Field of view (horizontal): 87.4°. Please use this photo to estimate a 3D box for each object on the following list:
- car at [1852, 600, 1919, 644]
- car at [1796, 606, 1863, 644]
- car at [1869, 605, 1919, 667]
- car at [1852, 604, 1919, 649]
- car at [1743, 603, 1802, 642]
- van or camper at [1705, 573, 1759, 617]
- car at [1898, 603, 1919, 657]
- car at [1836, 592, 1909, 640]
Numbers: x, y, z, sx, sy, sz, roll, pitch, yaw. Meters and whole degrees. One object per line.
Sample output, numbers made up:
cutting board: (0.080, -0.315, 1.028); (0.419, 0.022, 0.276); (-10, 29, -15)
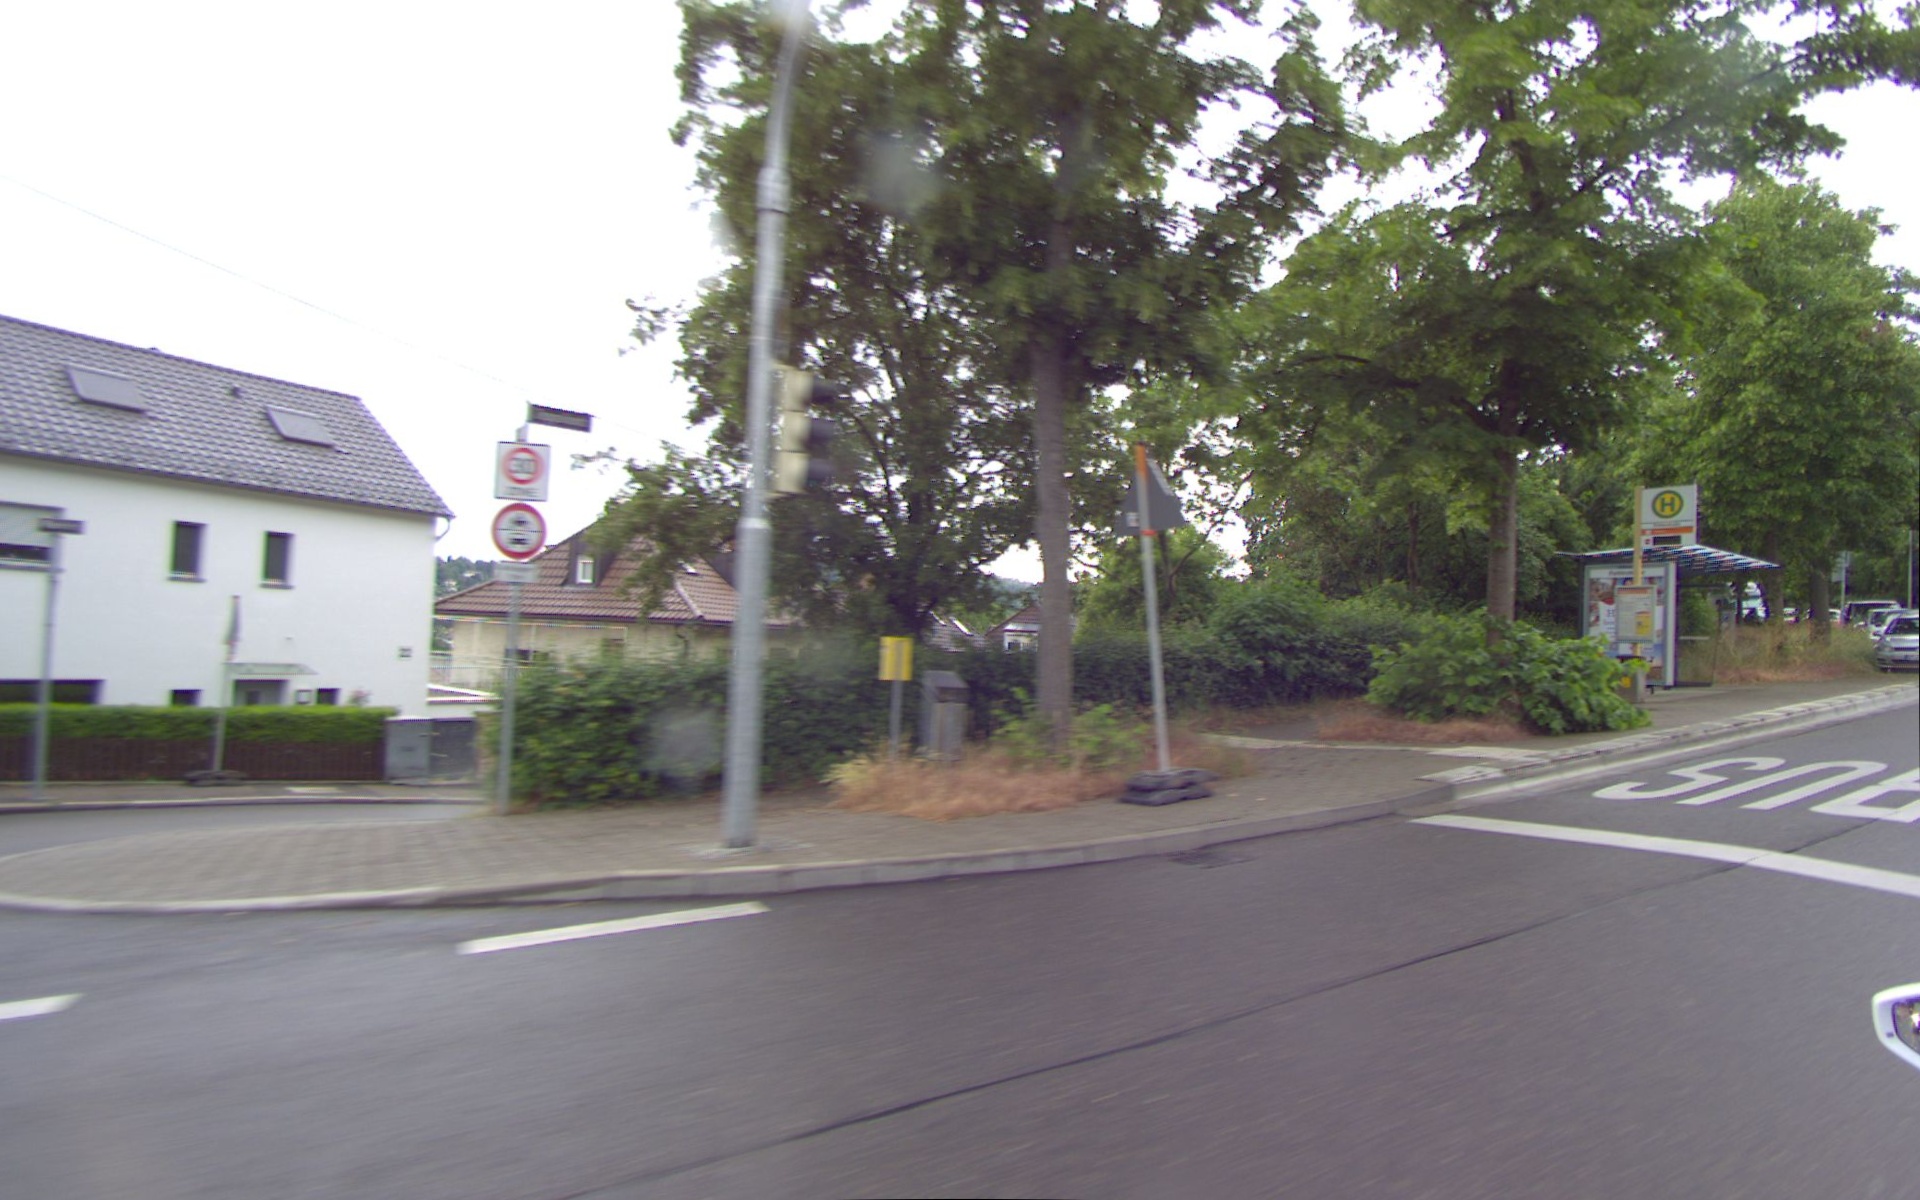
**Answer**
car: (35.472, 0.832, 38.443); (1.653, 1.572, 3.886); (-2, -2, 38)
car: (43.051, 1.251, 49.806); (1.967, 1.750, 3.988); (-3, -3, 34)
car: (23.825, 0.853, 24.766); (3.969, 1.445, 1.659); (0, -2, -42)
car: (31.806, 0.888, 34.487); (1.656, 1.445, 3.977); (-3, -2, 43)
car: (45.468, 1.268, 56.281); (1.965, 2.040, 3.991); (-2, -2, 31)
van or camper: (50.500, -0.272, 65.813); (1.751, 2.686, 3.988); (-2, -2, 23)
car: (27.591, 0.804, 28.247); (1.657, 1.445, 3.975); (-3, -2, 44)
car: (38.409, 0.686, 42.357); (1.813, 1.868, 3.888); (-2, -2, 37)
